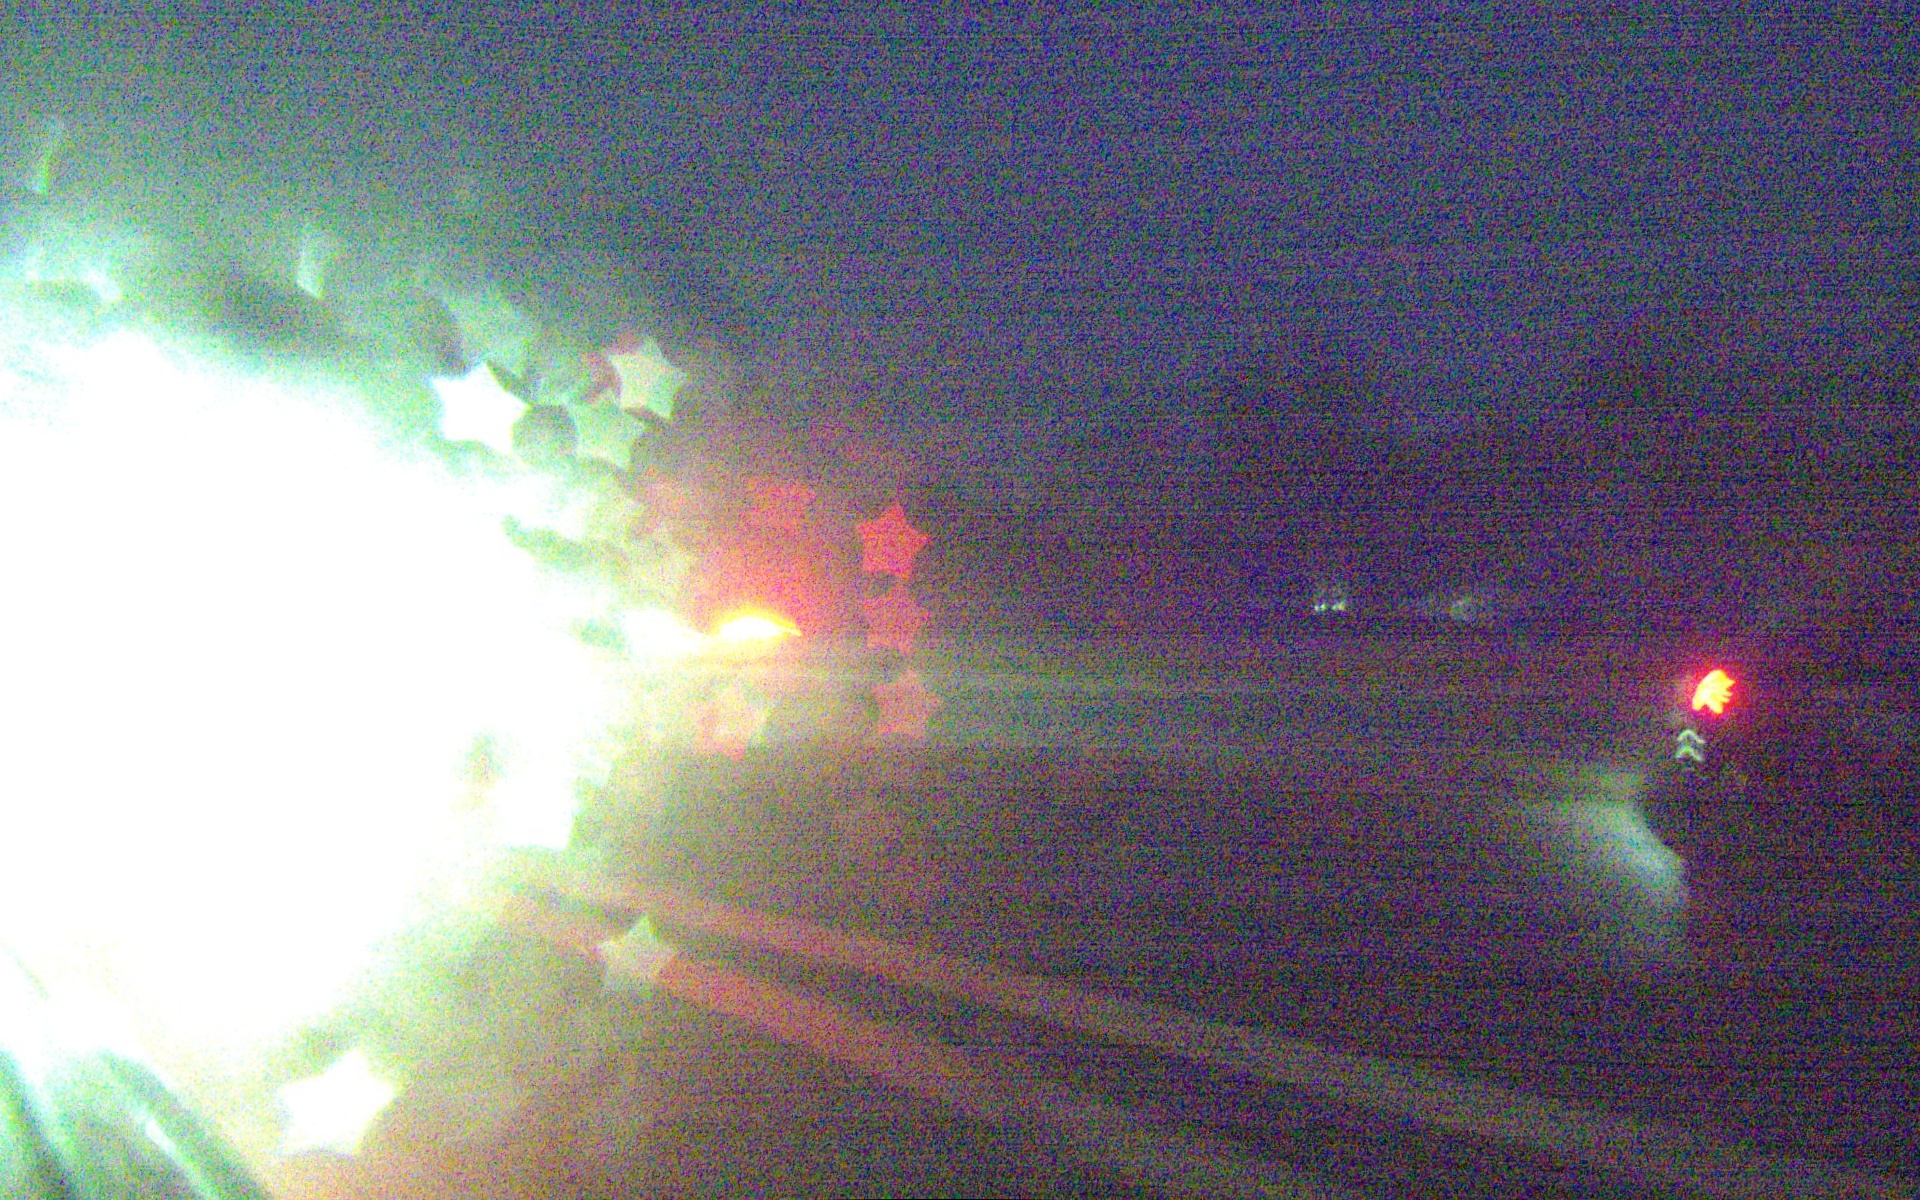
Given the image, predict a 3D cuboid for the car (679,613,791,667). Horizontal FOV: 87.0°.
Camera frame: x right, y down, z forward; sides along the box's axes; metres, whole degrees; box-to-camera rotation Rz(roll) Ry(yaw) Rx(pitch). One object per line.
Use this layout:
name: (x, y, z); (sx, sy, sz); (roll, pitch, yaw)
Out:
car: (-8.332, 1.454, 37.388); (3.993, 1.821, 1.886); (-1, 0, 37)

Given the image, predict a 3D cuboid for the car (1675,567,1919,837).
car: (6.509, 0.512, 5.698); (3.993, 1.452, 1.975); (-1, 0, 37)

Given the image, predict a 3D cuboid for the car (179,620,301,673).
car: (-23.603, 1.484, 33.134); (4.580, 1.572, 1.975); (-1, 0, 37)

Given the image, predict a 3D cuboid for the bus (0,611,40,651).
bus: (-116.263, 3.772, 123.148); (16.981, 4.523, 3.047); (-1, 0, 37)

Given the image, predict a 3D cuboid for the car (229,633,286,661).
car: (-48.270, 3.213, 69.528); (3.989, 1.821, 1.888); (-1, 0, 34)
